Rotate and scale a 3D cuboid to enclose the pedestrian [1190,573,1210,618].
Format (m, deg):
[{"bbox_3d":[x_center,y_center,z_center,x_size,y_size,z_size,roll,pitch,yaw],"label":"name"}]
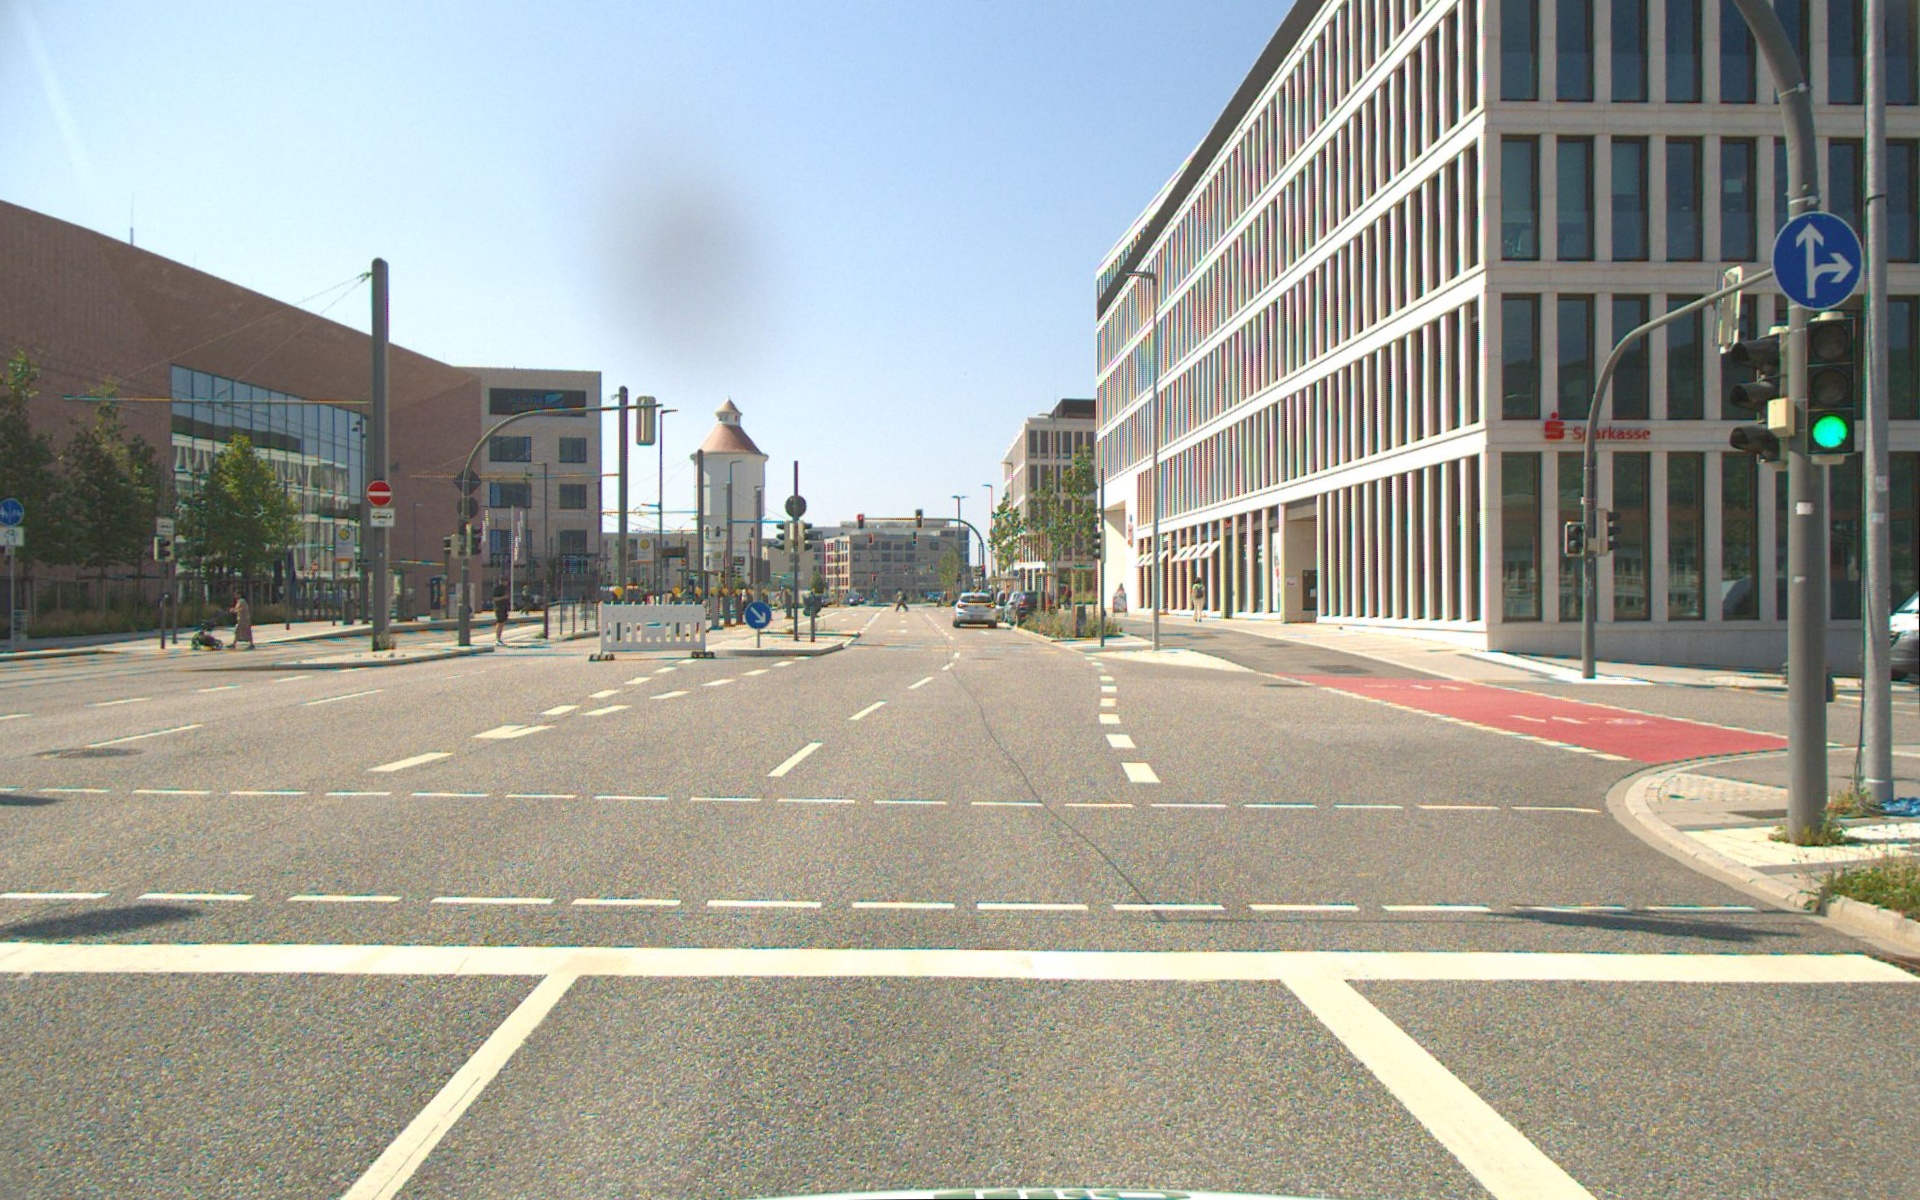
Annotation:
[{"bbox_3d":[9.537,-0.165,65.715,0.615,1.773,0.814,0,0,-2],"label":"pedestrian"}]

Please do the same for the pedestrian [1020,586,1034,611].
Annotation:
[{"bbox_3d":[4.505,-0.110,111.296,0.750,1.648,0.692,0,0,15],"label":"pedestrian"}]

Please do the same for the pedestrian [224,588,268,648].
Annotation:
[{"bbox_3d":[-19.155,0.483,44.379,0.922,1.590,0.784,0,0,-36],"label":"pedestrian"}]

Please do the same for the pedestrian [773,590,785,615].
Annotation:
[{"bbox_3d":[-12.684,0.169,115.860,0.750,1.764,0.691,0,0,-1],"label":"pedestrian"}]

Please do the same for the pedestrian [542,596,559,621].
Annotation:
[{"bbox_3d":[-31.759,0.660,128.282,0.869,1.923,0.984,0,0,18],"label":"pedestrian"}]

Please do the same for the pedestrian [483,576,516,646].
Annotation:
[{"bbox_3d":[-12.403,0.292,44.544,0.639,1.865,0.661,1,0,2],"label":"pedestrian"}]

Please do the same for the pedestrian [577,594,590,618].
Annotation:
[{"bbox_3d":[-26.121,0.408,114.796,0.697,1.599,0.890,0,0,-3],"label":"pedestrian"}]

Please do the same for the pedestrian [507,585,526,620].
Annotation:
[{"bbox_3d":[-23.700,0.129,88.421,0.794,1.852,0.825,1,0,-2],"label":"pedestrian"}]

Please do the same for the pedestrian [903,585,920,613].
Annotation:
[{"bbox_3d":[-3.500,-0.076,119.992,1.005,2.049,0.949,0,0,-20],"label":"pedestrian"}]

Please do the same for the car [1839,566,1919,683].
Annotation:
[{"bbox_3d":[21.522,0.585,34.031,5.719,2.310,2.146,2,0,-2],"label":"car"}]

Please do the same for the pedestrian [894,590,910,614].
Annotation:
[{"bbox_3d":[-4.178,0.122,118.782,0.880,1.703,1.007,0,0,-20],"label":"pedestrian"}]

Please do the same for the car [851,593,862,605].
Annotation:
[{"bbox_3d":[-14.362,-0.104,229.748,1.555,1.557,3.690,1,-1,-3],"label":"car"}]

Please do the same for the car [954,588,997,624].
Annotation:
[{"bbox_3d":[0.631,0.282,69.367,1.735,1.419,3.531,1,-1,0],"label":"car"}]

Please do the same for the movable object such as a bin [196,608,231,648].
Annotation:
[{"bbox_3d":[-19.818,0.742,43.889,0.707,1.050,0.784,0,0,-36],"label":"movable object such as a bin"}]

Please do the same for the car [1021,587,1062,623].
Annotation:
[{"bbox_3d":[3.501,0.239,71.448,1.700,1.500,3.981,0,0,2],"label":"car"}]

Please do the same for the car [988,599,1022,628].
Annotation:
[{"bbox_3d":[2.330,0.690,86.543,1.524,1.498,3.468,0,0,-2],"label":"car"}]
